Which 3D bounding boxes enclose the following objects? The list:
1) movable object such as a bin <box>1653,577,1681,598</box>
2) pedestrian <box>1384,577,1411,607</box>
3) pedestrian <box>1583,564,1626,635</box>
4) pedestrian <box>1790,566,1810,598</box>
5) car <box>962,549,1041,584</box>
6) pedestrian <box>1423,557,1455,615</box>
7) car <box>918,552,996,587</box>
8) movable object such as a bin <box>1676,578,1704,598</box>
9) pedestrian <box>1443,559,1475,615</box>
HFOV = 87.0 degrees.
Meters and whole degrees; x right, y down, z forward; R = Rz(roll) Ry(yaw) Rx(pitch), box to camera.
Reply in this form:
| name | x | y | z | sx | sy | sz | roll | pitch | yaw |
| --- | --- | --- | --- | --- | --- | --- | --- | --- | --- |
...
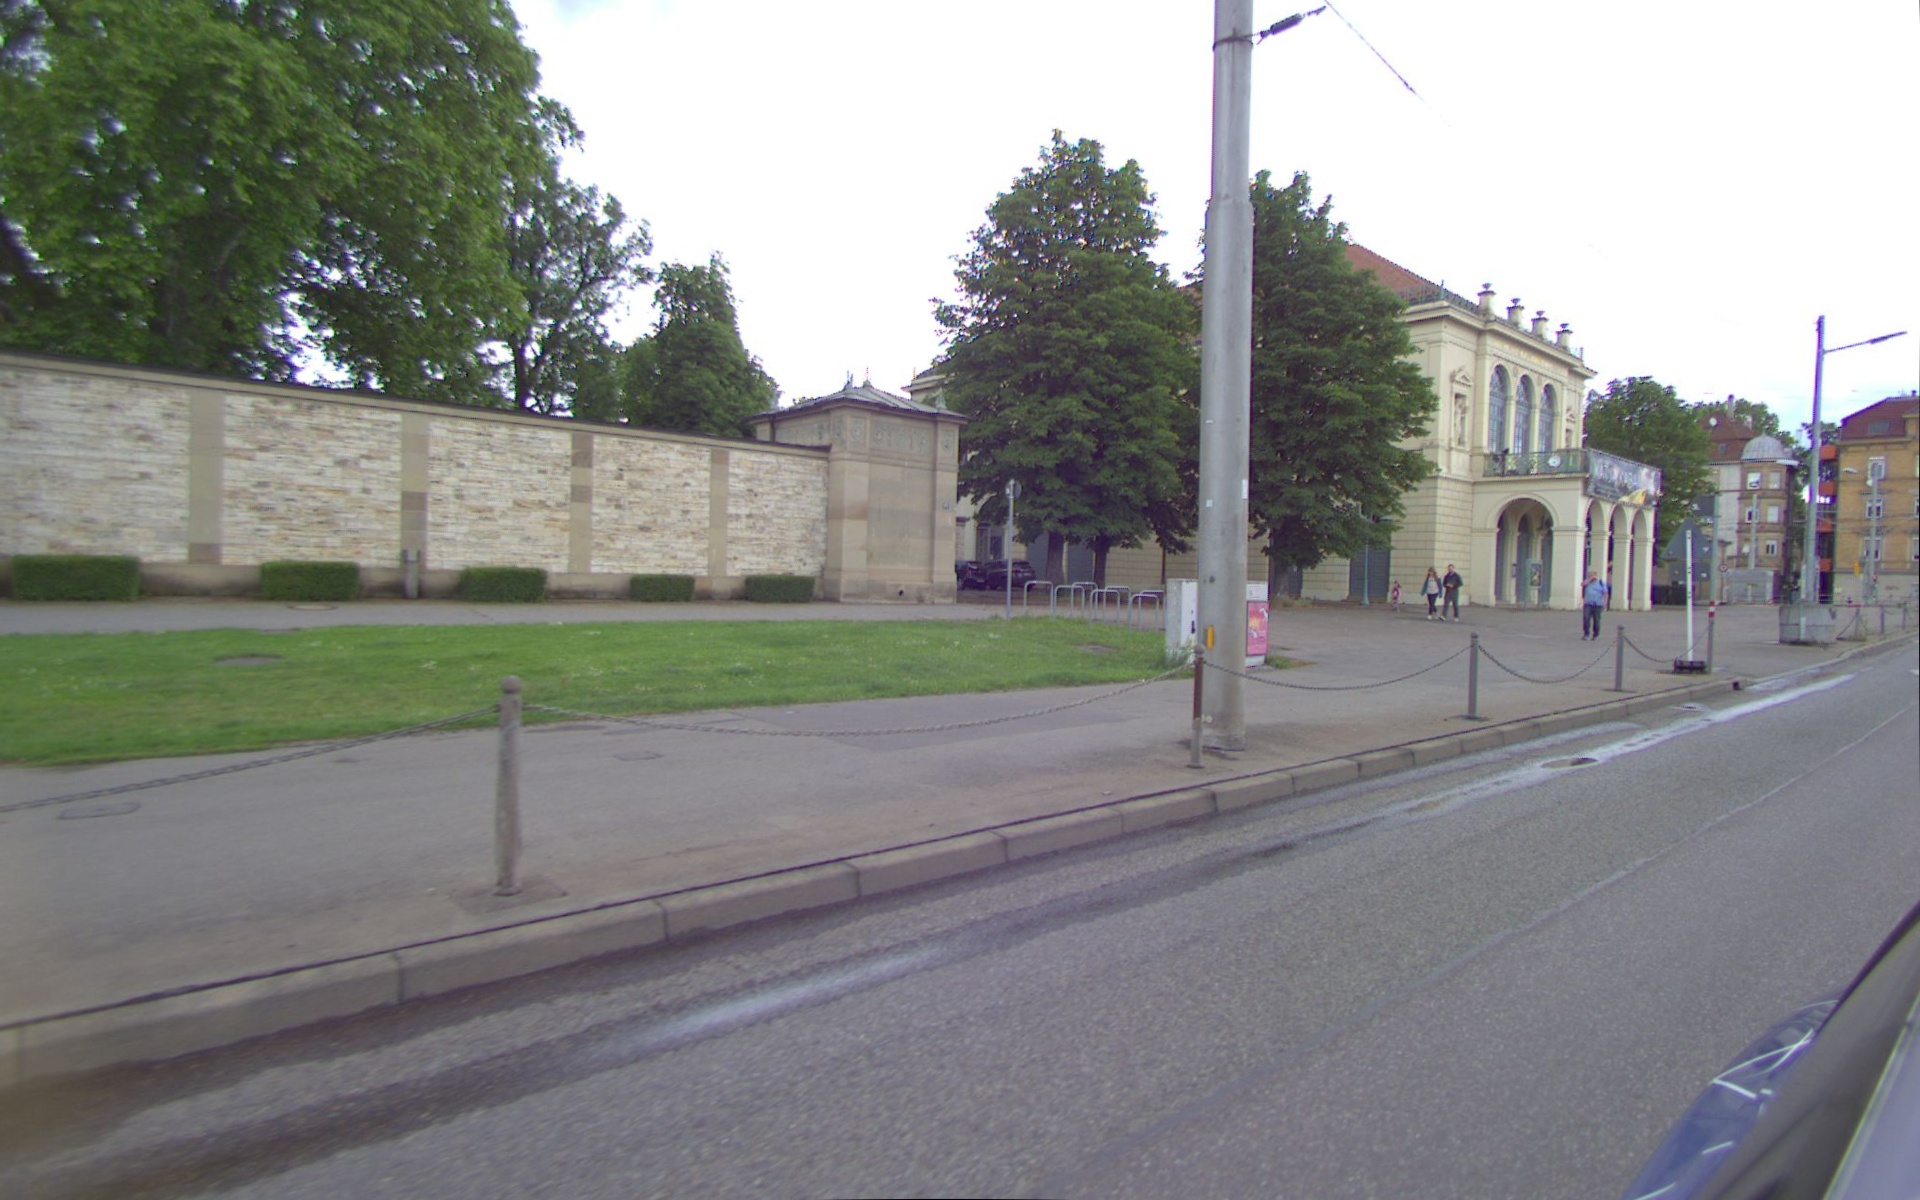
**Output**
| name | x | y | z | sx | sy | sz | roll | pitch | yaw |
| --- | --- | --- | --- | --- | --- | --- | --- | --- | --- |
| movable object such as a bin | 50.938 | -0.896 | 72.906 | 1.355 | 1.423 | 1.297 | 0 | 3 | -41 |
| pedestrian | 15.001 | -0.282 | 34.701 | 0.748 | 1.013 | 0.594 | 2 | 2 | 15 |
| pedestrian | 16.720 | -0.036 | 26.253 | 0.920 | 1.789 | 0.672 | 0 | 2 | -41 |
| pedestrian | 46.822 | -1.003 | 56.420 | 0.920 | 1.789 | 0.672 | 0 | 2 | -41 |
| car | 2.019 | -1.626 | 50.112 | 1.867 | 1.672 | 3.785 | -1 | 1 | -40 |
| pedestrian | 15.272 | -0.464 | 32.279 | 0.794 | 1.814 | 0.596 | 0 | 2 | -41 |
| car | -0.161 | -1.440 | 48.676 | 1.867 | 1.588 | 3.646 | -1 | 1 | -40 |
| movable object such as a bin | 51.900 | -0.876 | 71.936 | 1.355 | 1.385 | 1.297 | 0 | 3 | -41 |
| pedestrian | 15.652 | -0.421 | 31.753 | 0.776 | 1.720 | 0.597 | 0 | 2 | -41 |
